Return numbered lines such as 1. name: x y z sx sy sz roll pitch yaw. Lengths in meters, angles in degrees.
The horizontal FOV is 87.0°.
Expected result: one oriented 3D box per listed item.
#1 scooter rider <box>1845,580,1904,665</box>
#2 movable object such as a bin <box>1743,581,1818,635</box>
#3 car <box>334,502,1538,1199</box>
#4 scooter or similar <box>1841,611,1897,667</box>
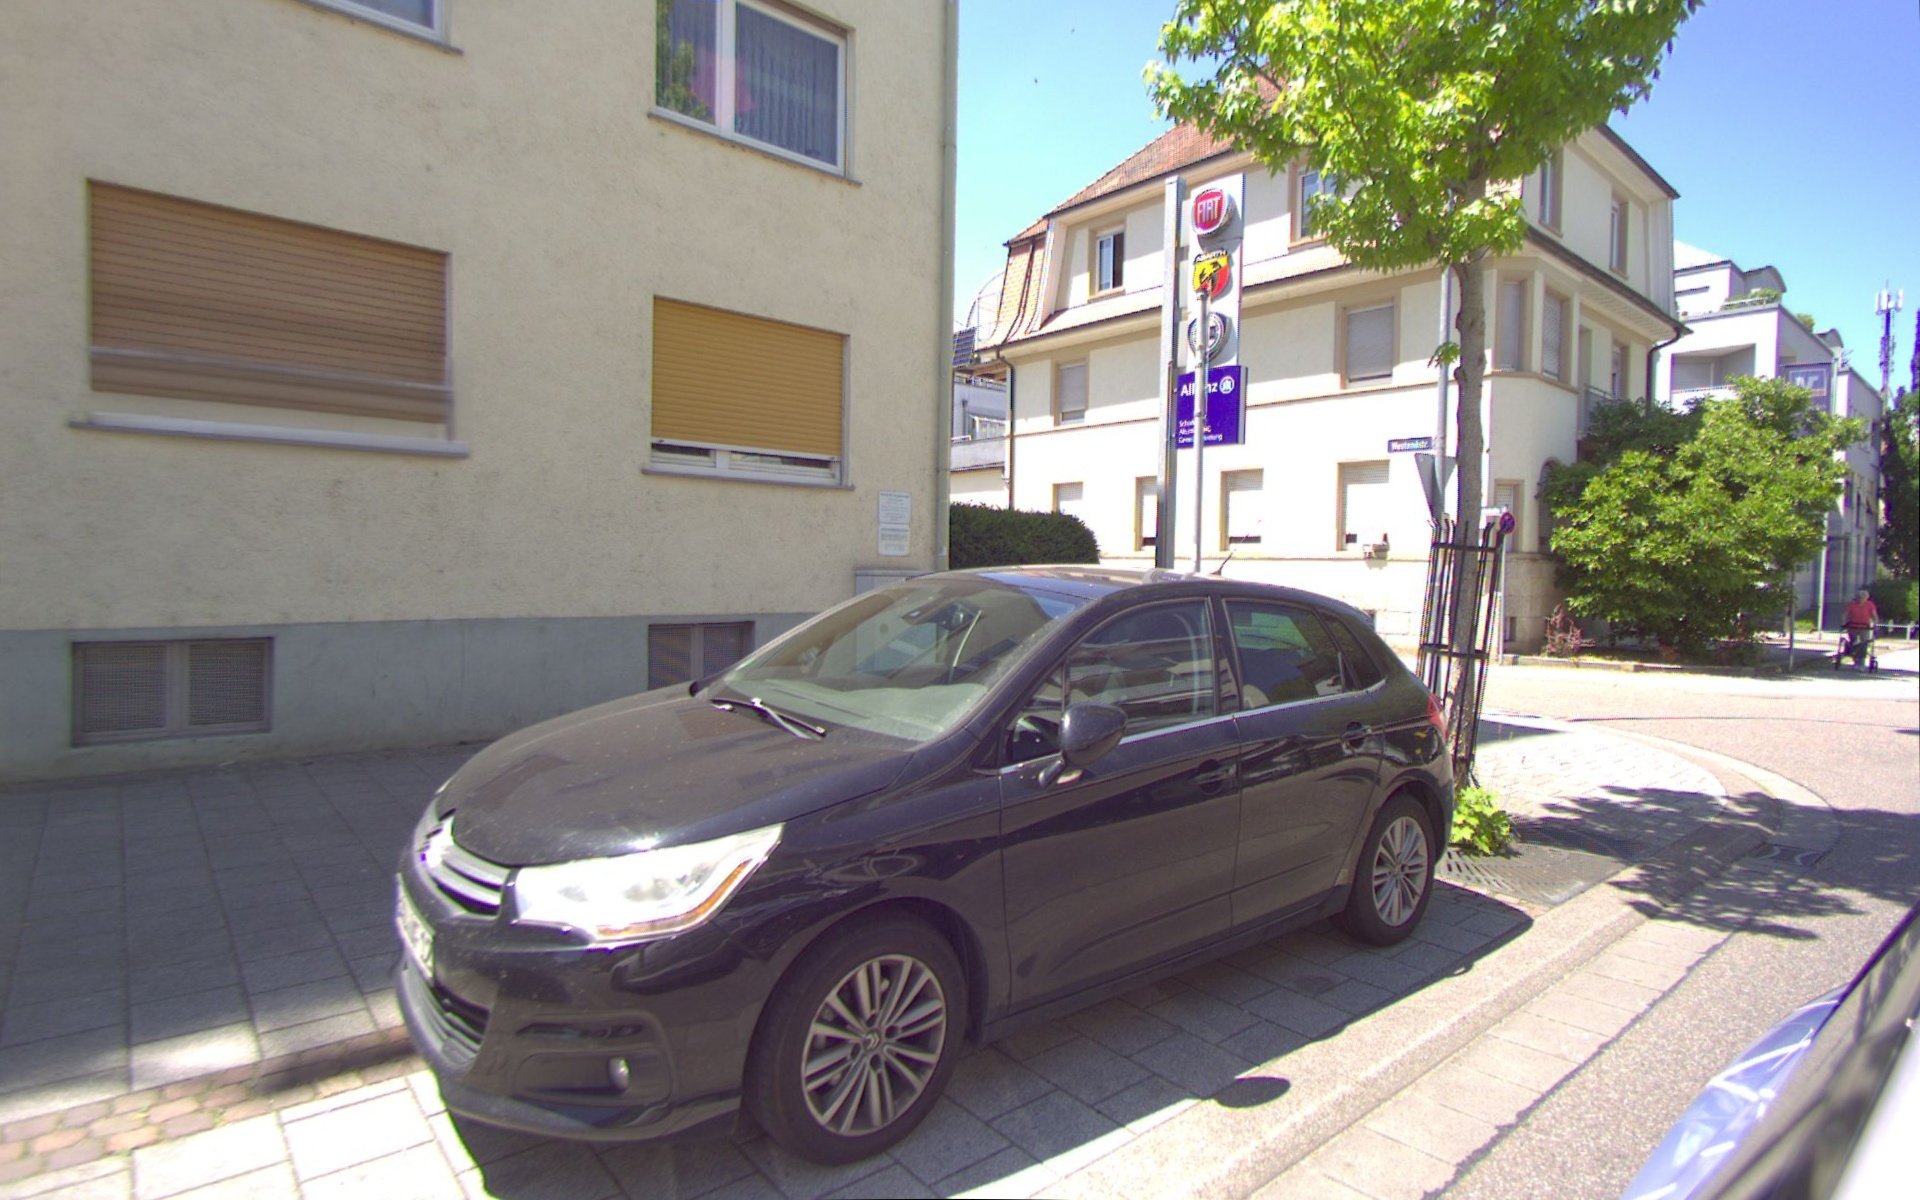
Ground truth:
1. scooter rider: 17.586 0.413 19.460 0.757 1.567 0.717 0 2 -42
2. movable object such as a bin: 24.254 0.217 29.932 1.355 1.476 1.372 0 5 -39
3. car: 0.295 0.520 3.946 4.462 1.456 1.901 0 2 -39
4. scooter or similar: 17.150 0.717 19.090 0.741 0.974 0.665 0 3 -41
